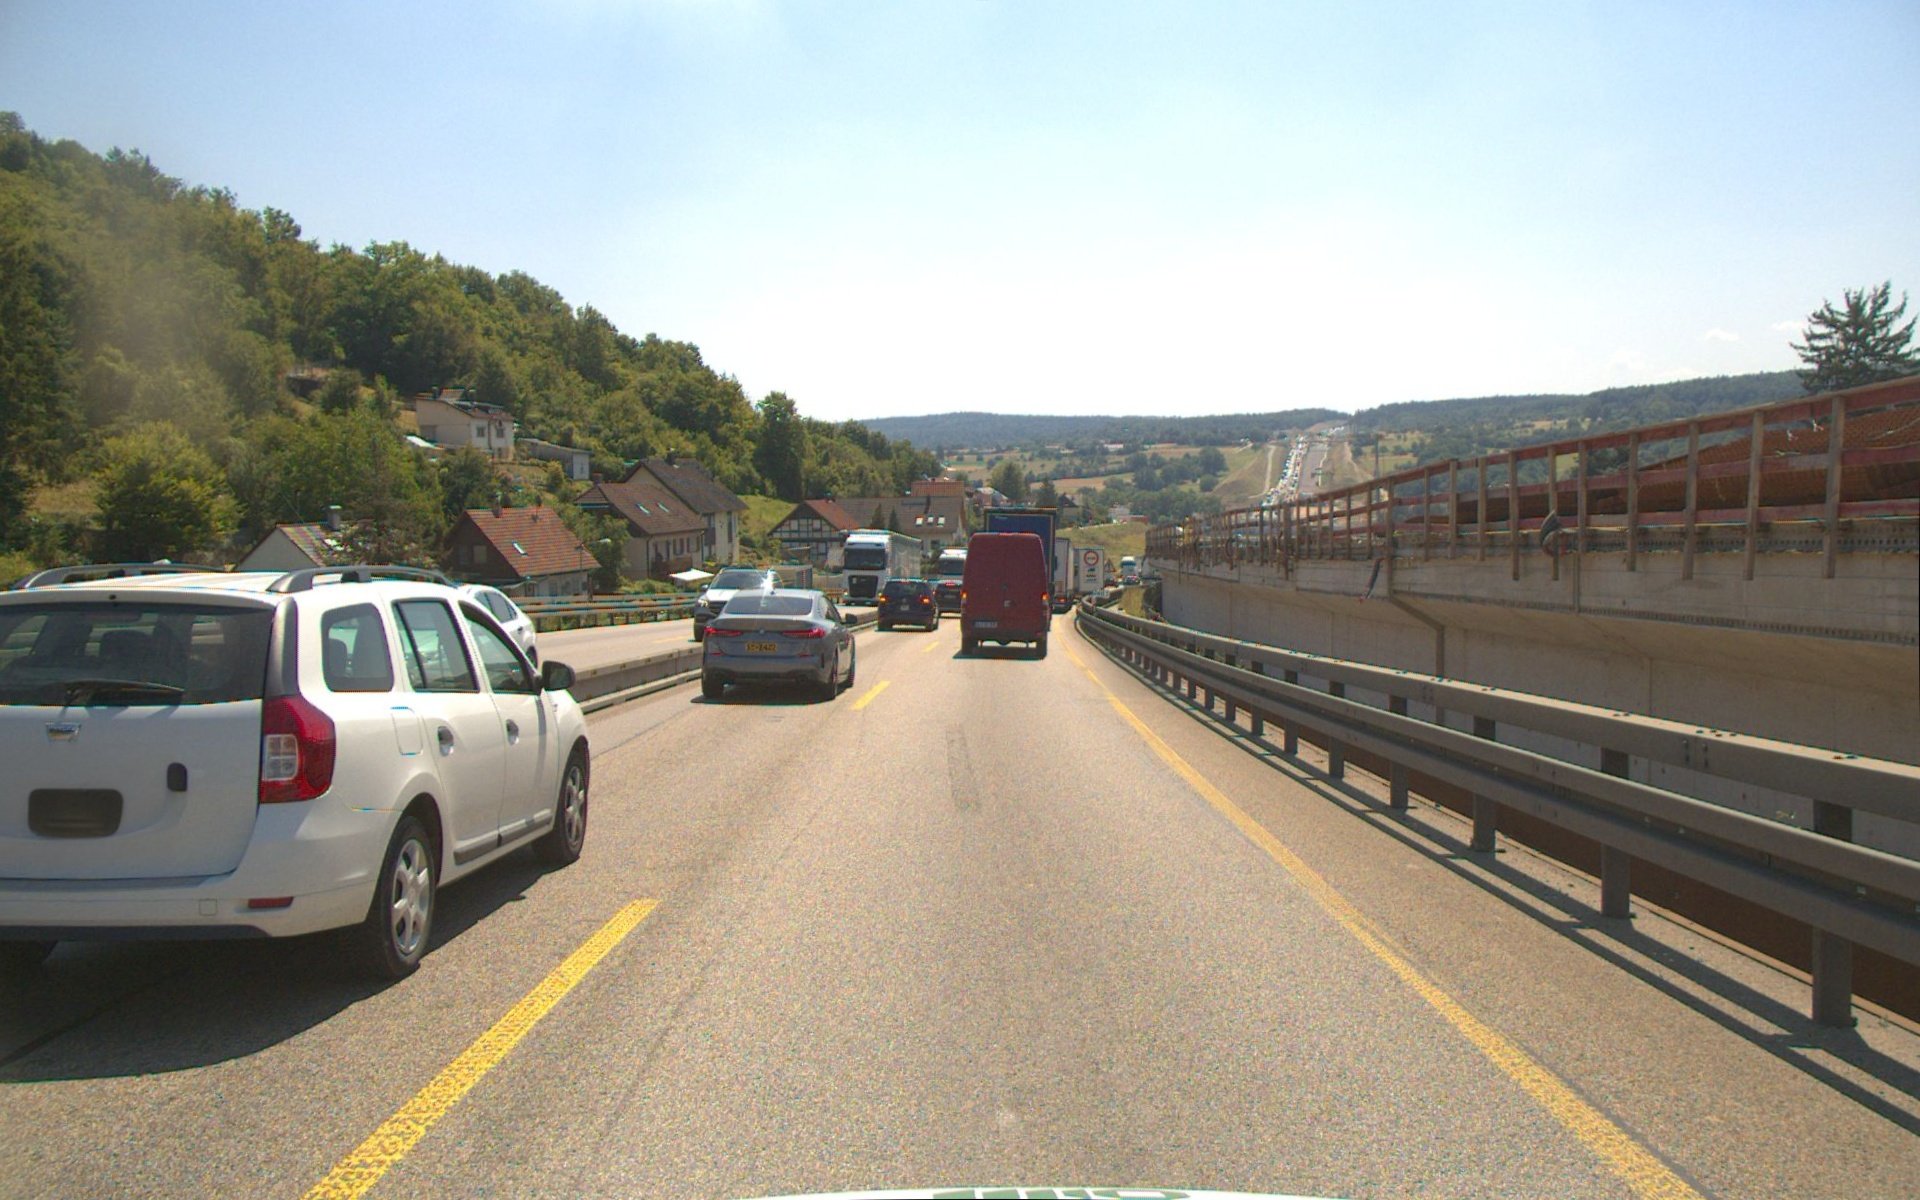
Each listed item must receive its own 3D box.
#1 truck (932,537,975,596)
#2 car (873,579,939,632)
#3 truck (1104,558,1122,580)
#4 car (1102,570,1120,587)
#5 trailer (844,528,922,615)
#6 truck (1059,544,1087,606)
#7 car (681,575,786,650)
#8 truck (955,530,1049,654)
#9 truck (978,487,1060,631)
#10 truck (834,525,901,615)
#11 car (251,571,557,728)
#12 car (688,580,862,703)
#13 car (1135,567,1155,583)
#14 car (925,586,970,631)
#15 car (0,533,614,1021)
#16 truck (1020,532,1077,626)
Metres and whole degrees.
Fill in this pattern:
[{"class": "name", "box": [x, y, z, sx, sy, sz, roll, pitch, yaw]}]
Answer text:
[{"class": "truck", "box": [-0.492, -2.689, 136.153, 2.786, 4.660, 5.791, 1, -1, 6]}, {"class": "car", "box": [-1.705, 0.184, 53.452, 1.772, 1.636, 3.720, 1, 0, 3]}, {"class": "truck", "box": [11.731, -2.346, 126.697, 1.286, 1.569, 3.153, 1, 0, 5]}, {"class": "car", "box": [19.221, -2.759, 210.768, 1.765, 2.048, 4.004, 2, 1, 12]}, {"class": "trailer", "box": [-4.573, -1.581, 101.837, 3.000, 4.900, 14.009, 1, 0, 4]}, {"class": "truck", "box": [8.441, -1.847, 123.190, 1.951, 4.458, 4.002, 1, -1, 4]}, {"class": "car", "box": [-5.593, 0.270, 41.378, 1.872, 1.735, 4.736, 1, 0, 1]}, {"class": "truck", "box": [1.005, -0.156, 37.548, 1.952, 2.623, 4.001, 1, 0, 3]}, {"class": "truck", "box": [2.117, -1.364, 61.829, 2.729, 4.900, 9.686, 1, 0, 1]}, {"class": "truck", "box": [-5.247, -1.660, 94.327, 2.996, 4.906, 4.648, 1, -1, 6]}, {"class": "car", "box": [-6.086, 0.475, 18.714, 1.872, 1.512, 4.478, 1, 0, 1]}, {"class": "car", "box": [-2.449, 0.511, 22.808, 1.757, 1.511, 4.051, 1, 0, 2]}, {"class": "car", "box": [25.033, -3.353, 223.595, 2.086, 2.049, 4.003, 1, 0, 14]}, {"class": "car", "box": [-0.527, 0.373, 72.264, 1.693, 1.870, 4.001, 1, 0, 3]}, {"class": "car", "box": [-2.795, 0.567, 7.311, 1.618, 1.509, 4.266, -1, 0, 0]}, {"class": "truck", "box": [4.834, -1.096, 92.045, 2.729, 4.900, 9.686, 1, 0, 1]}]
